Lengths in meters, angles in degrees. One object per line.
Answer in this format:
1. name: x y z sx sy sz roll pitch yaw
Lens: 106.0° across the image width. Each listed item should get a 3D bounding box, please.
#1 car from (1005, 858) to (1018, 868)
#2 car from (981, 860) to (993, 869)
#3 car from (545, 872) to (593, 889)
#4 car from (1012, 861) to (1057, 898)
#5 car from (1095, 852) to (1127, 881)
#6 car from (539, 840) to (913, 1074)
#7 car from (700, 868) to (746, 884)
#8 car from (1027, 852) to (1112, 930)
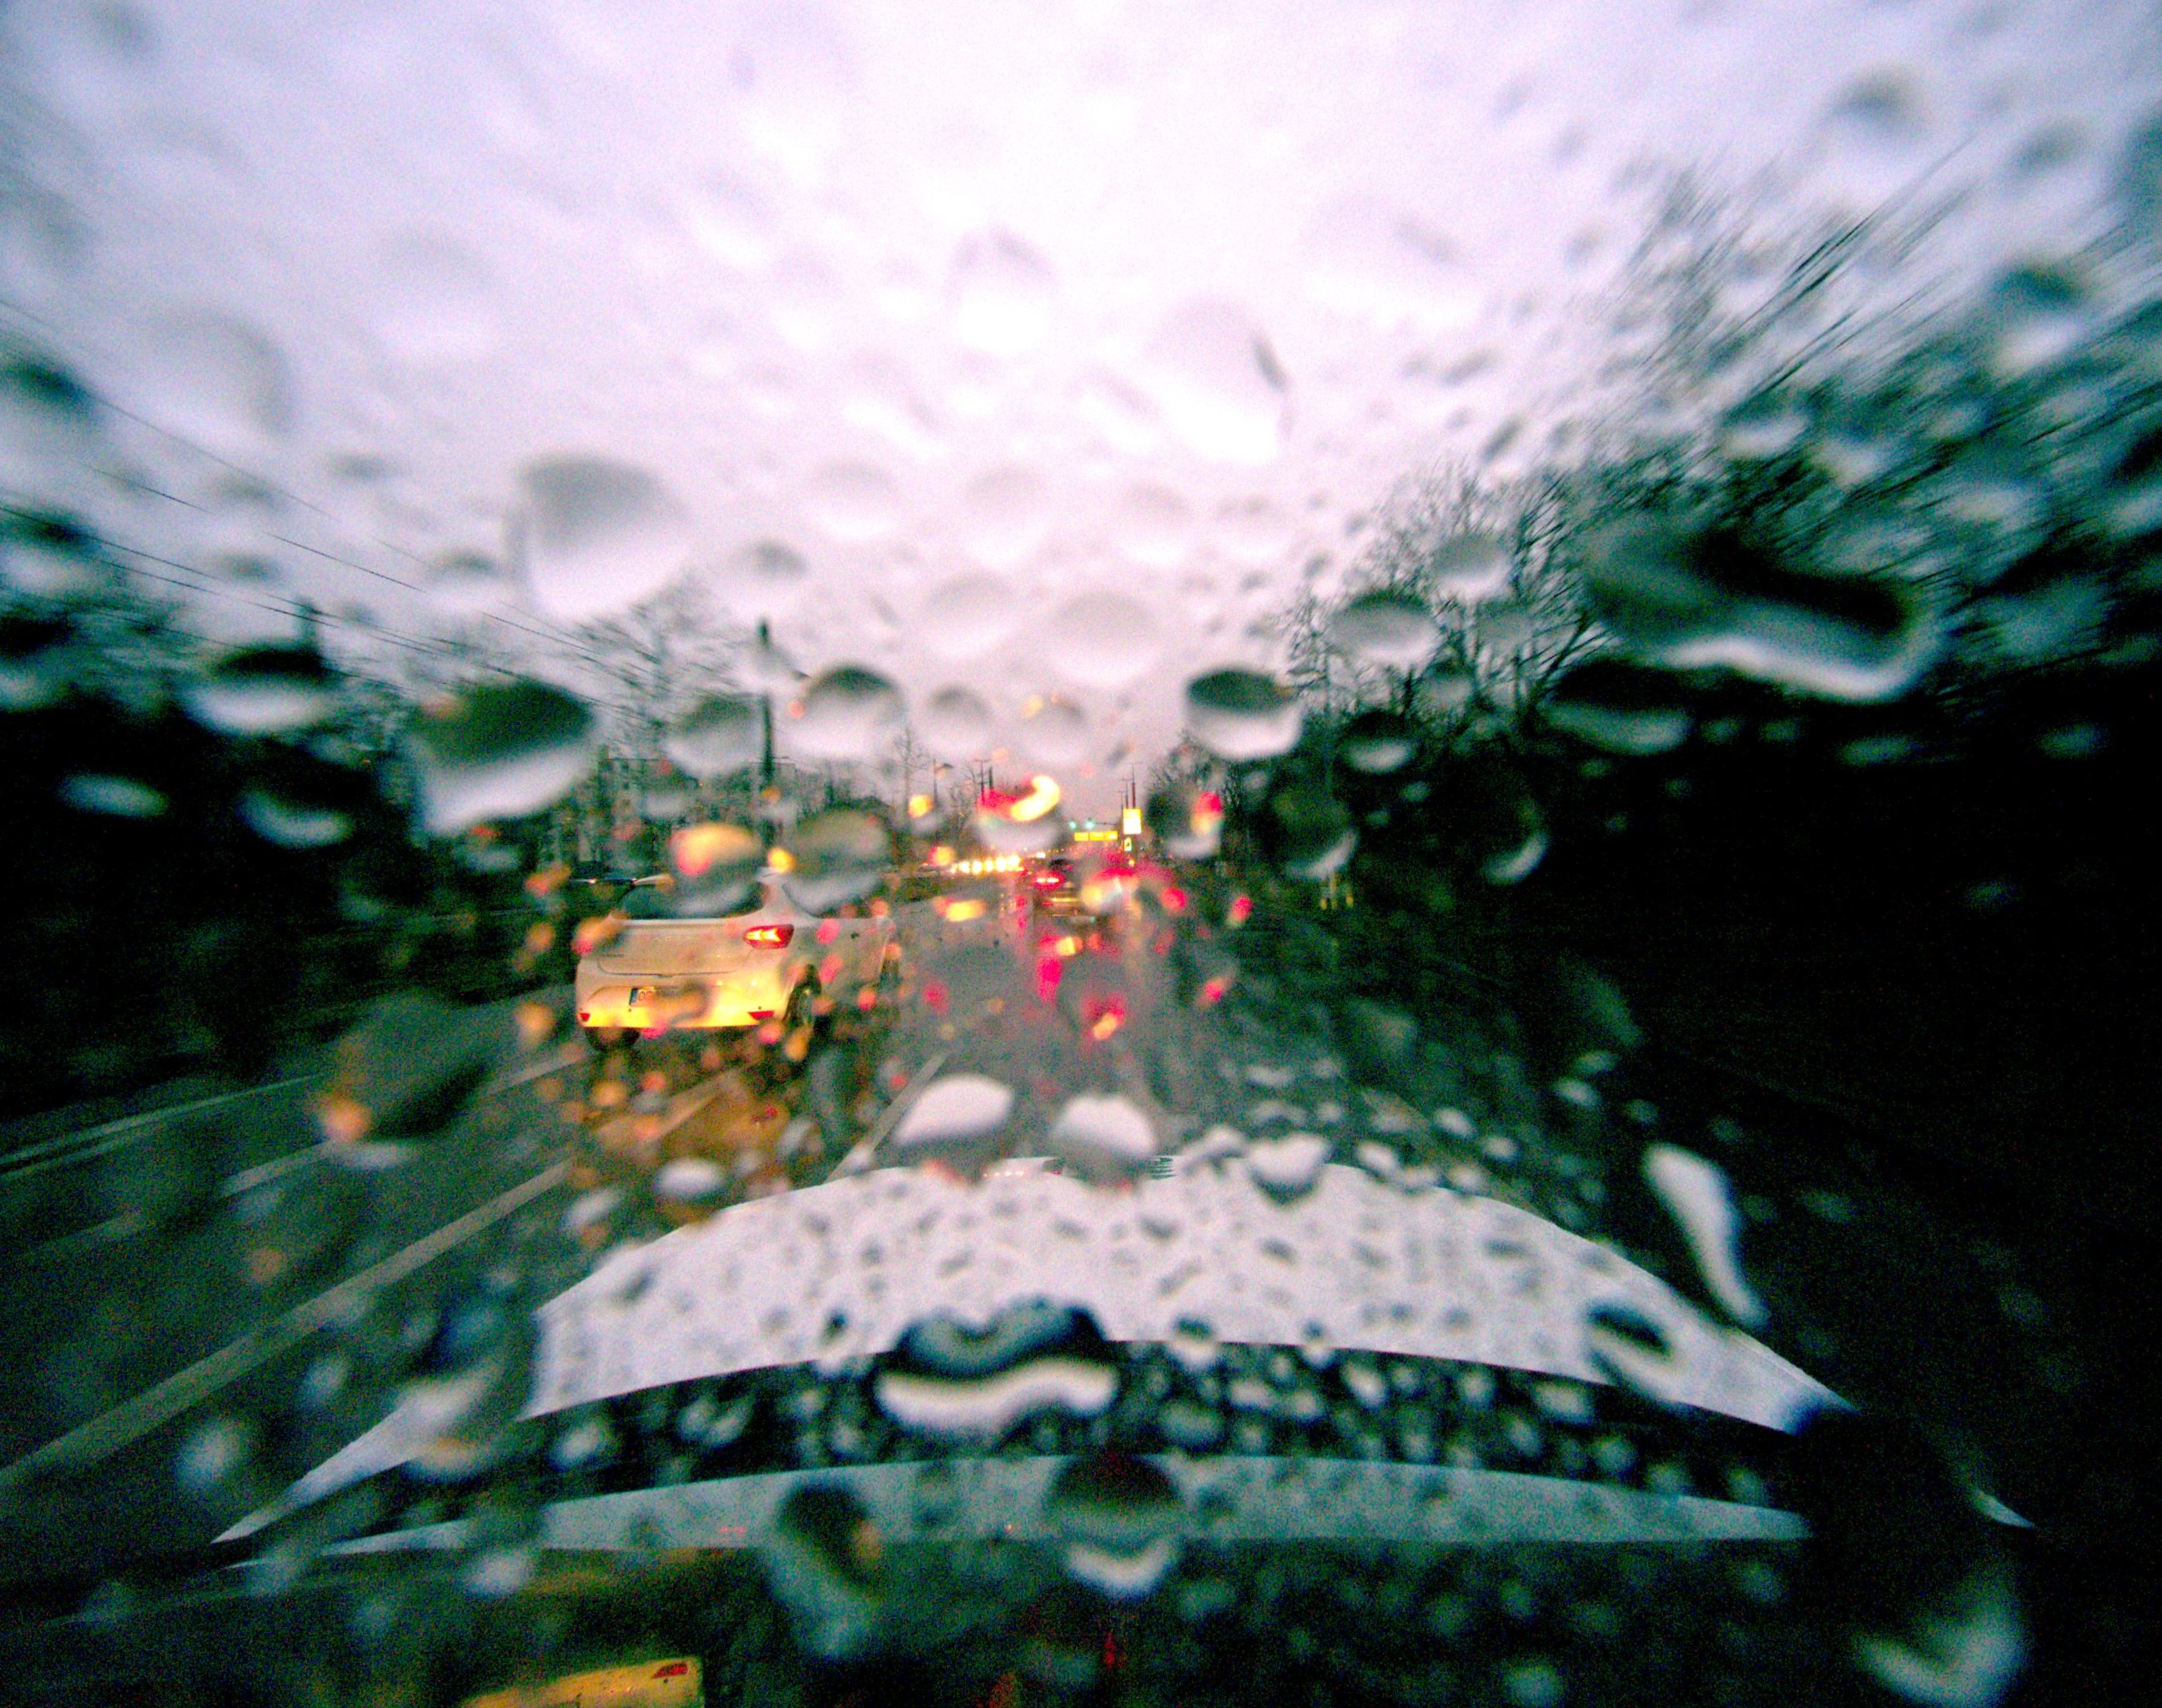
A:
1. car: -11.788 1.536 137.777 1.851 1.582 4.078 -2 0 0
2. car: -16.074 1.744 139.572 1.646 1.420 3.326 -2 0 0
3. car: -52.465 2.671 83.555 4.008 1.544 1.698 -2 0 -26
4. car: -2.226 1.206 39.973 1.815 1.648 4.001 -1 0 1
5. car: 1.800 0.737 49.614 1.815 1.648 4.468 -2 0 1
6. car: -3.002 0.754 7.967 1.707 1.648 4.148 -1 0 1
7. car: -38.459 2.390 87.545 4.449 1.544 1.836 -2 0 -26
8. car: -0.188 0.806 19.823 1.815 1.648 4.468 -1 0 1
